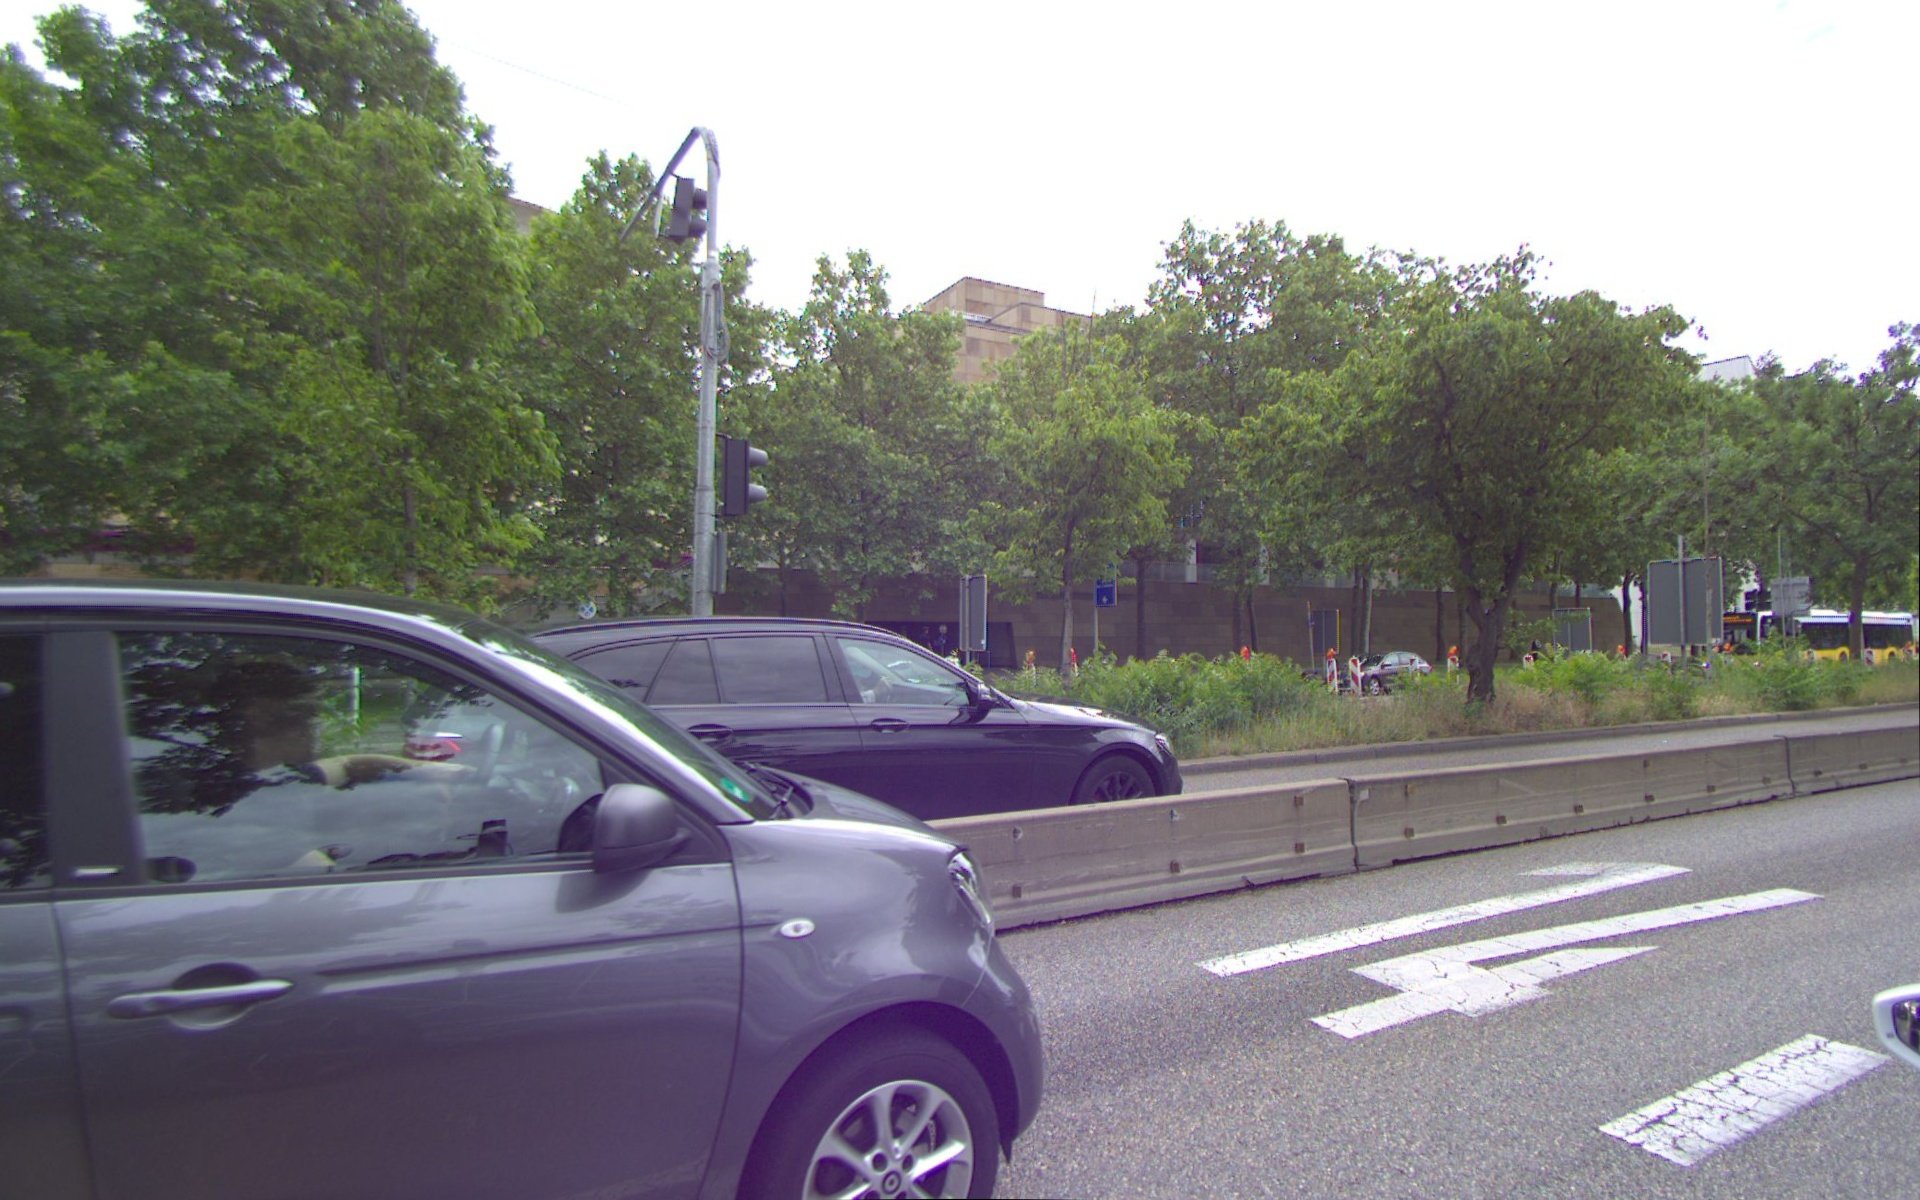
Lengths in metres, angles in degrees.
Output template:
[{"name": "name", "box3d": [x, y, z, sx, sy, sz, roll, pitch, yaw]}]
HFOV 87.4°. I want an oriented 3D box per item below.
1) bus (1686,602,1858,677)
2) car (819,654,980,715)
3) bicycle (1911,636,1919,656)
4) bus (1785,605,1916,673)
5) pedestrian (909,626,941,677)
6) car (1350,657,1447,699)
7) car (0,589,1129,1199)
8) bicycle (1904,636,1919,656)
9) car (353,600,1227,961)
[{"name": "bus", "box3d": [39.162, 1.889, 48.304, 10.326, 3.348, 2.899, 1, -2, -30]}, {"name": "car", "box3d": [-1.448, 2.010, 24.411, 3.694, 1.305, 1.346, 2, 0, -30]}, {"name": "bicycle", "box3d": [81.846, 3.854, 83.704, 1.169, 1.706, 3.597, 1, -3, -29]}, {"name": "bus", "box3d": [46.904, 2.058, 52.856, 7.616, 3.347, 2.909, 1, -2, -30]}, {"name": "pedestrian", "box3d": [-1.295, 1.907, 37.206, 0.976, 1.878, 0.718, 2, -4, -30]}, {"name": "car", "box3d": [15.132, 2.664, 34.630, 3.358, 1.305, 1.346, 2, 0, -30]}, {"name": "car", "box3d": [-1.526, 0.761, 2.205, 3.497, 1.529, 1.620, 2, -1, -29]}, {"name": "bicycle", "box3d": [79.907, 3.759, 82.243, 1.169, 1.706, 3.597, 1, -3, -29]}, {"name": "car", "box3d": [-0.829, 0.834, 6.165, 4.802, 1.479, 1.805, 2, 1, -28]}]
